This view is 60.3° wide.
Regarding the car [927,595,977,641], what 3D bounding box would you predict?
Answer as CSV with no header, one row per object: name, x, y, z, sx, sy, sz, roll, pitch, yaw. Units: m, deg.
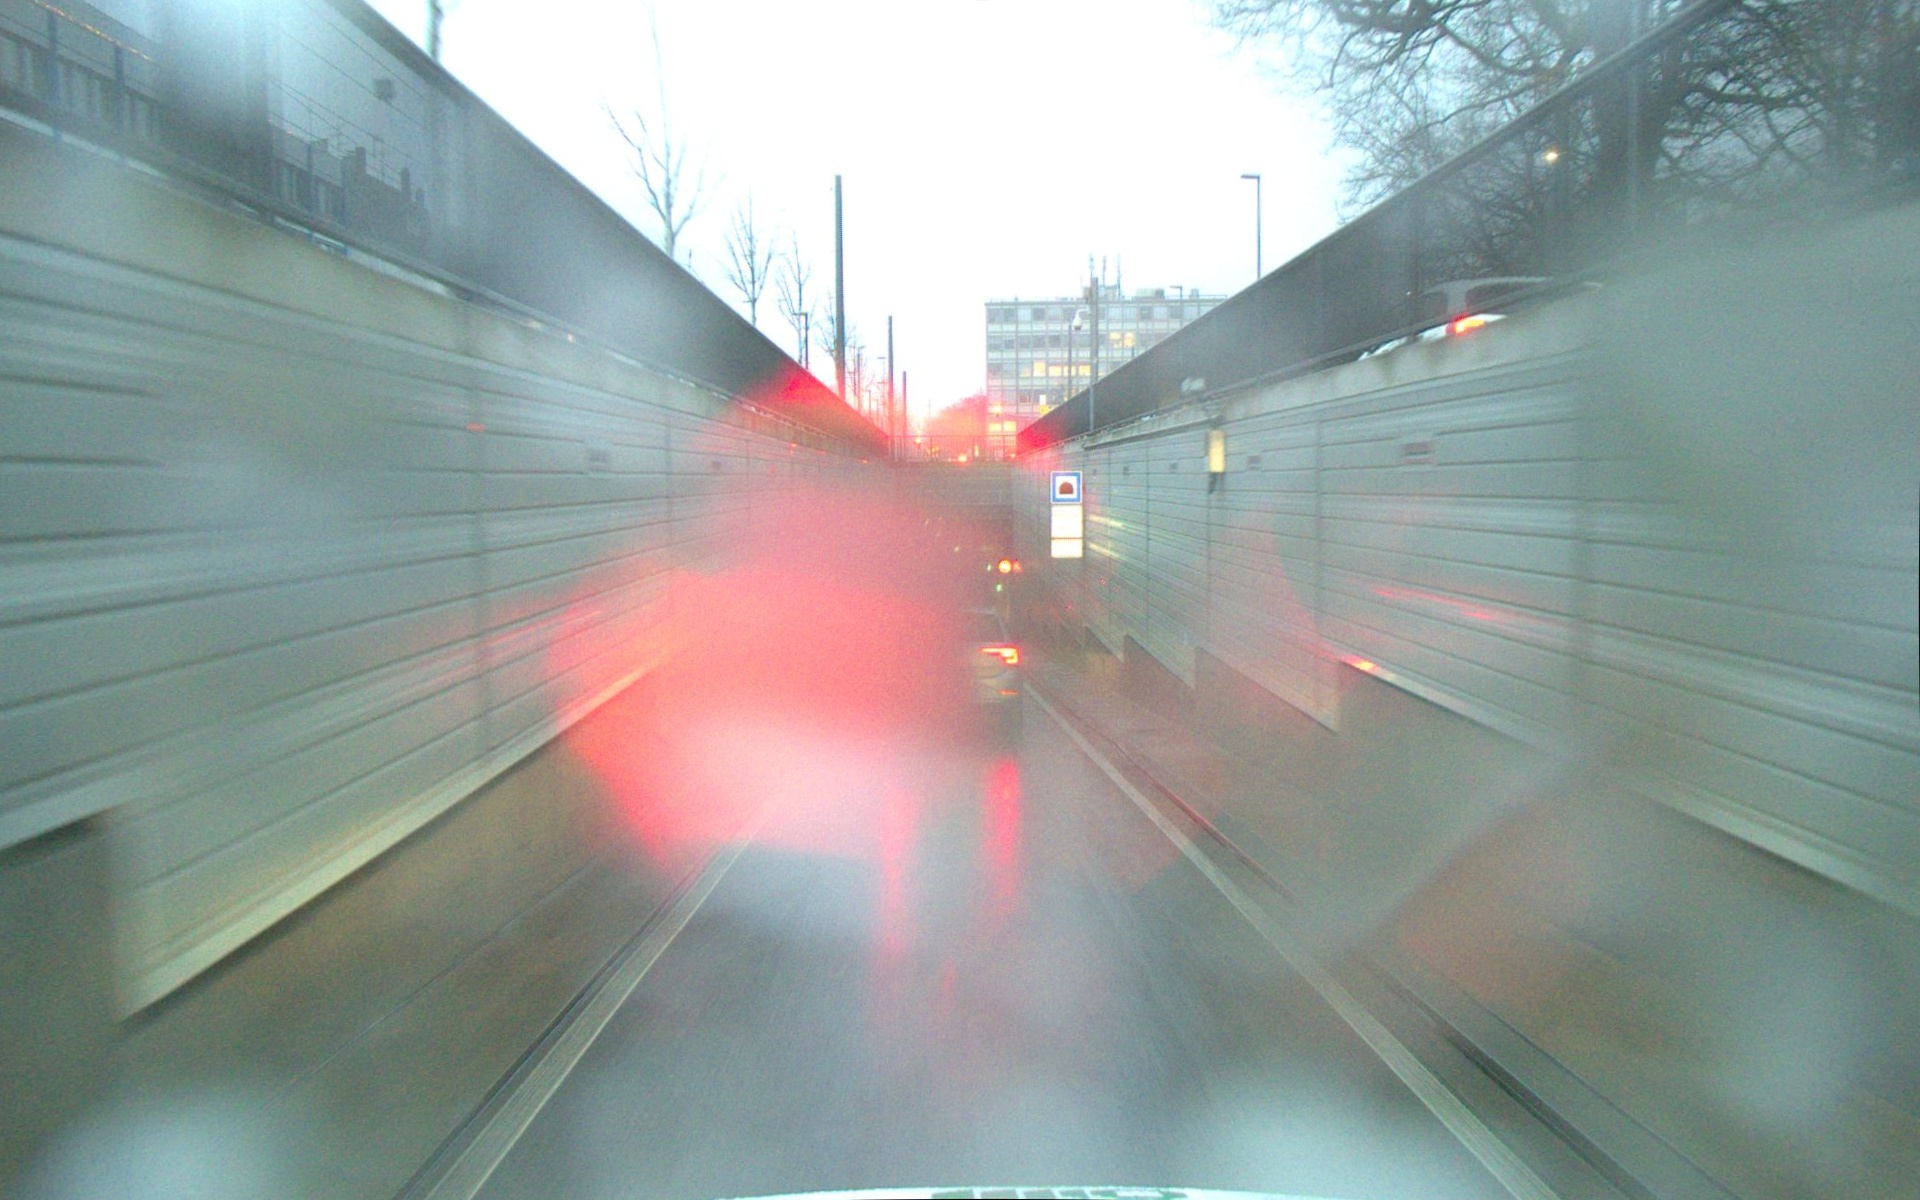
car,-0.339,0.678,66.271,1.881,1.511,4.000,1,3,-2

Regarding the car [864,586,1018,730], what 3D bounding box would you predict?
car,-0.173,0.628,20.402,1.687,1.505,4.001,2,1,1

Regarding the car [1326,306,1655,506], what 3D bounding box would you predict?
car,4.556,-1.622,14.838,1.687,1.504,4.002,2,3,1
